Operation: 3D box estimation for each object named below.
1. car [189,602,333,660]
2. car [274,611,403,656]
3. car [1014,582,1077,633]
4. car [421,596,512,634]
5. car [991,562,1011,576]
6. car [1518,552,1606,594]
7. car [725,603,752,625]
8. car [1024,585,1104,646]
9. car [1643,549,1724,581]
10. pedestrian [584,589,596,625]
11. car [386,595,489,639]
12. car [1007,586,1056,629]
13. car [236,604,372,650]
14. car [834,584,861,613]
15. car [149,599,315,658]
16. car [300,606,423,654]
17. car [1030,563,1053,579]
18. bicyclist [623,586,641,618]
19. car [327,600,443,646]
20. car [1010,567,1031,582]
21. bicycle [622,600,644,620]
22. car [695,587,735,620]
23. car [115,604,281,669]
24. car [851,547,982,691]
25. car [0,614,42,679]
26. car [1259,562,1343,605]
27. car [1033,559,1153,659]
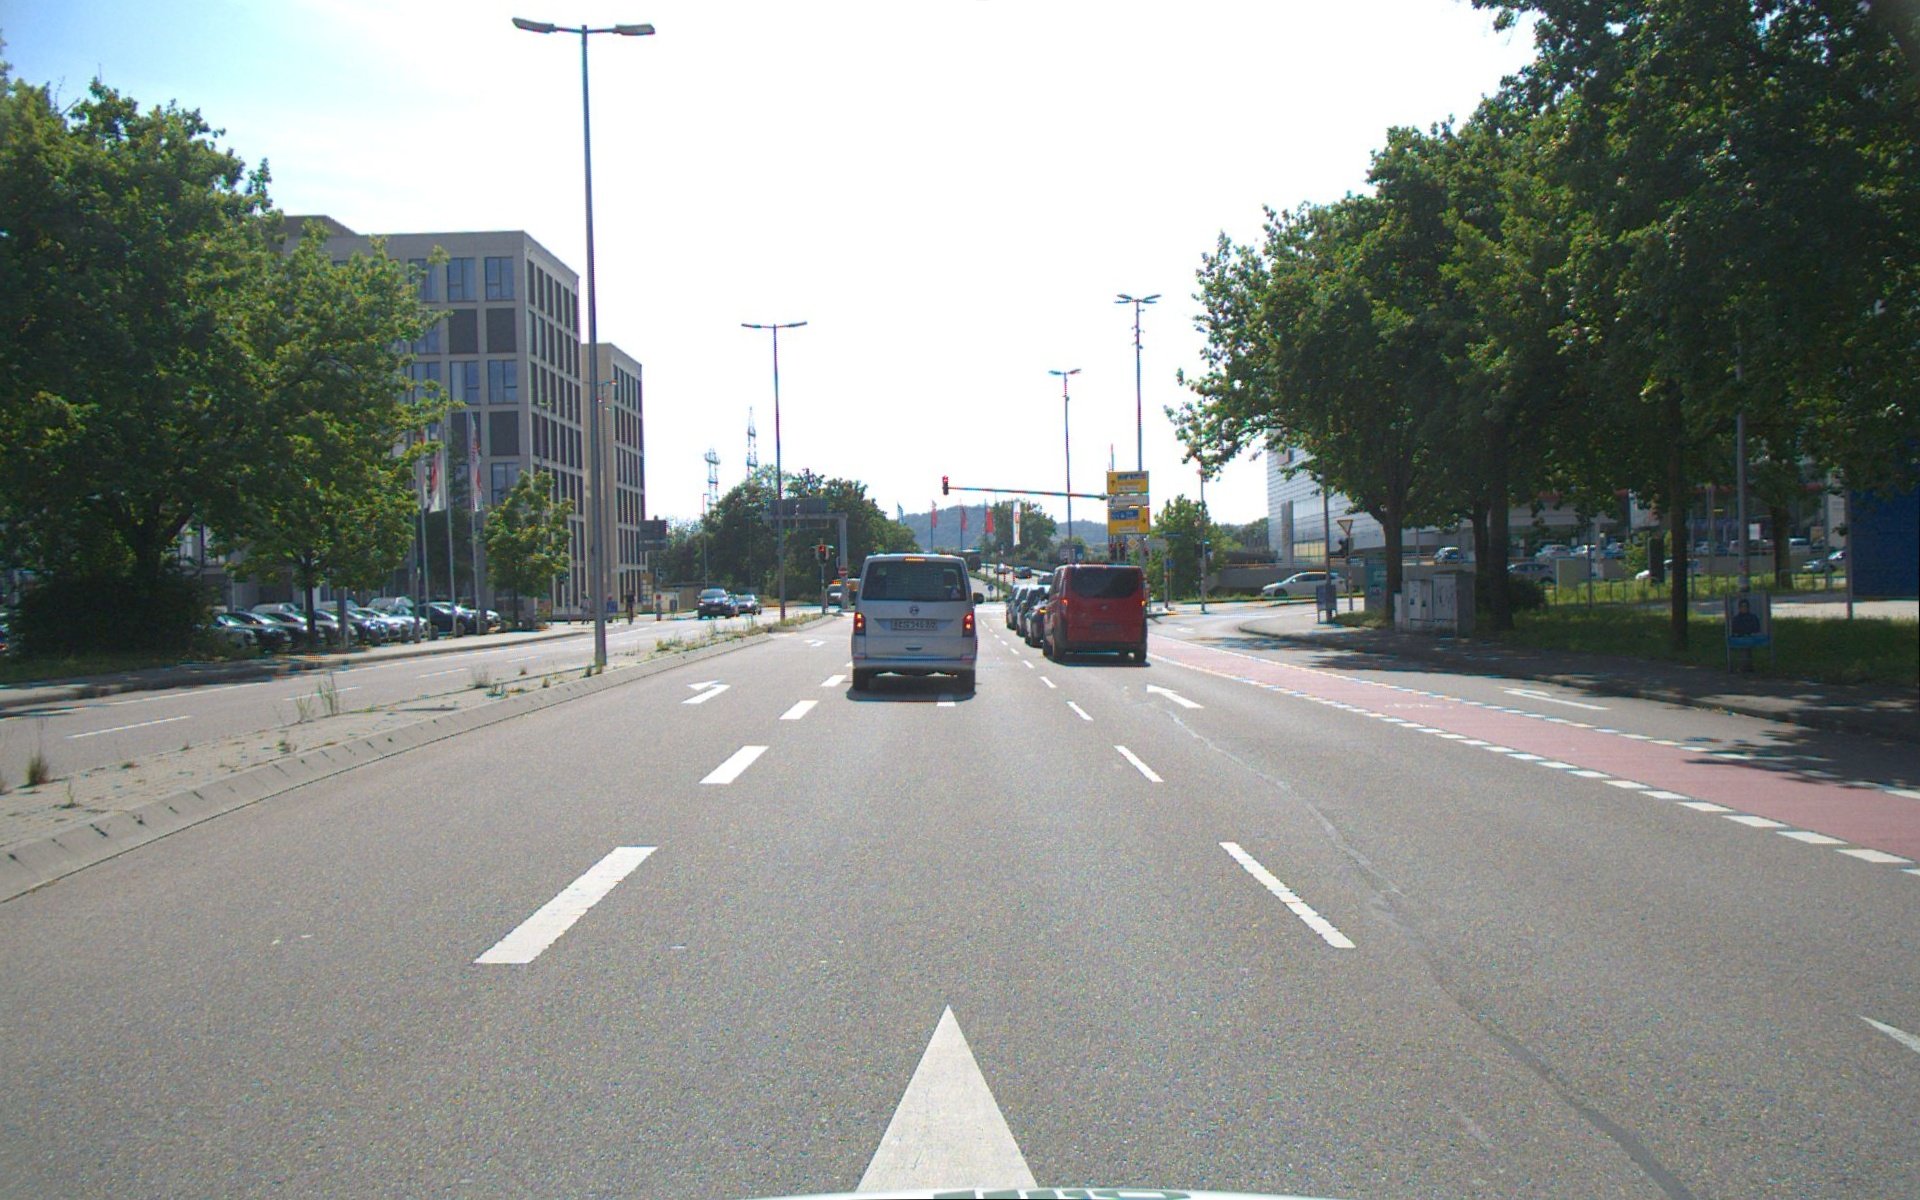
[{"bbox_3d":[-22.393,0.984,53.047,3.794,1.444,1.660,-5,1,3],"label":"car"},{"bbox_3d":[-22.161,1.173,59.084,3.794,1.186,1.912,-5,1,3],"label":"car"},{"bbox_3d":[2.661,0.208,52.380,1.711,1.543,4.077,0,1,-1],"label":"car"},{"bbox_3d":[-22.358,0.677,75.042,3.521,1.381,1.640,-5,1,0],"label":"car"},{"bbox_3d":[6.297,-4.808,254.601,1.961,2.049,3.983,0,1,-16],"label":"car"},{"bbox_3d":[33.726,-1.508,92.746,4.310,2.028,1.482,-4,0,4],"label":"car"},{"bbox_3d":[-16.239,1.024,121.492,1.545,1.434,4.377,-2,1,-3],"label":"car"},{"bbox_3d":[2.654,0.372,43.014,1.711,1.484,4.475,0,1,-1],"label":"car"},{"bbox_3d":[42.755,-2.065,97.783,4.046,1.545,1.482,-4,0,4],"label":"car"},{"bbox_3d":[-21.104,0.413,94.300,0.547,2.049,0.576,0,0,2],"label":"pedestrian"},{"bbox_3d":[-22.836,0.732,72.340,3.795,1.490,1.868,-5,1,1],"label":"car"},{"bbox_3d":[2.554,0.239,59.451,1.546,1.483,3.785,0,1,-1],"label":"car"},{"bbox_3d":[-22.265,0.908,56.243,3.794,1.172,1.796,-5,1,3],"label":"car"},{"bbox_3d":[-10.616,-0.138,155.321,2.358,2.605,6.888,-2,1,-5],"label":"car"},{"bbox_3d":[-22.286,0.857,50.712,4.081,1.354,2.038,-5,1,3],"label":"car"},{"bbox_3d":[-22.339,1.108,61.818,3.794,1.356,1.849,-5,1,3],"label":"car"},{"bbox_3d":[11.170,-3.944,225.970,1.961,2.049,3.983,0,1,-16],"label":"car"},{"bbox_3d":[-16.694,0.093,84.151,0.606,1.553,1.036,-3,0,0],"label":"bicyclist"},{"bbox_3d":[-22.371,0.887,64.455,3.794,1.388,1.749,-5,1,3],"label":"car"},{"bbox_3d":[8.817,-3.734,242.359,1.961,2.049,3.983,0,1,-16],"label":"car"},{"bbox_3d":[-16.687,0.529,84.428,0.666,0.957,1.973,-2,1,0],"label":"bicycle"},{"bbox_3d":[-13.518,0.152,91.526,1.704,1.646,4.207,-4,1,-3],"label":"car"},{"bbox_3d":[-22.020,1.039,47.886,3.794,1.444,1.912,-5,1,3],"label":"car"},{"bbox_3d":[-0.639,0.242,25.360,1.846,2.025,4.000,0,1,-1],"label":"car"},{"bbox_3d":[-22.884,1.209,36.606,3.907,1.382,2.000,-5,1,0],"label":"car"},{"bbox_3d":[18.865,-0.895,91.571,4.310,2.028,1.482,-4,0,4],"label":"car"},{"bbox_3d":[2.809,0.150,36.135,1.928,2.002,5.122,0,1,-3],"label":"car"}]
